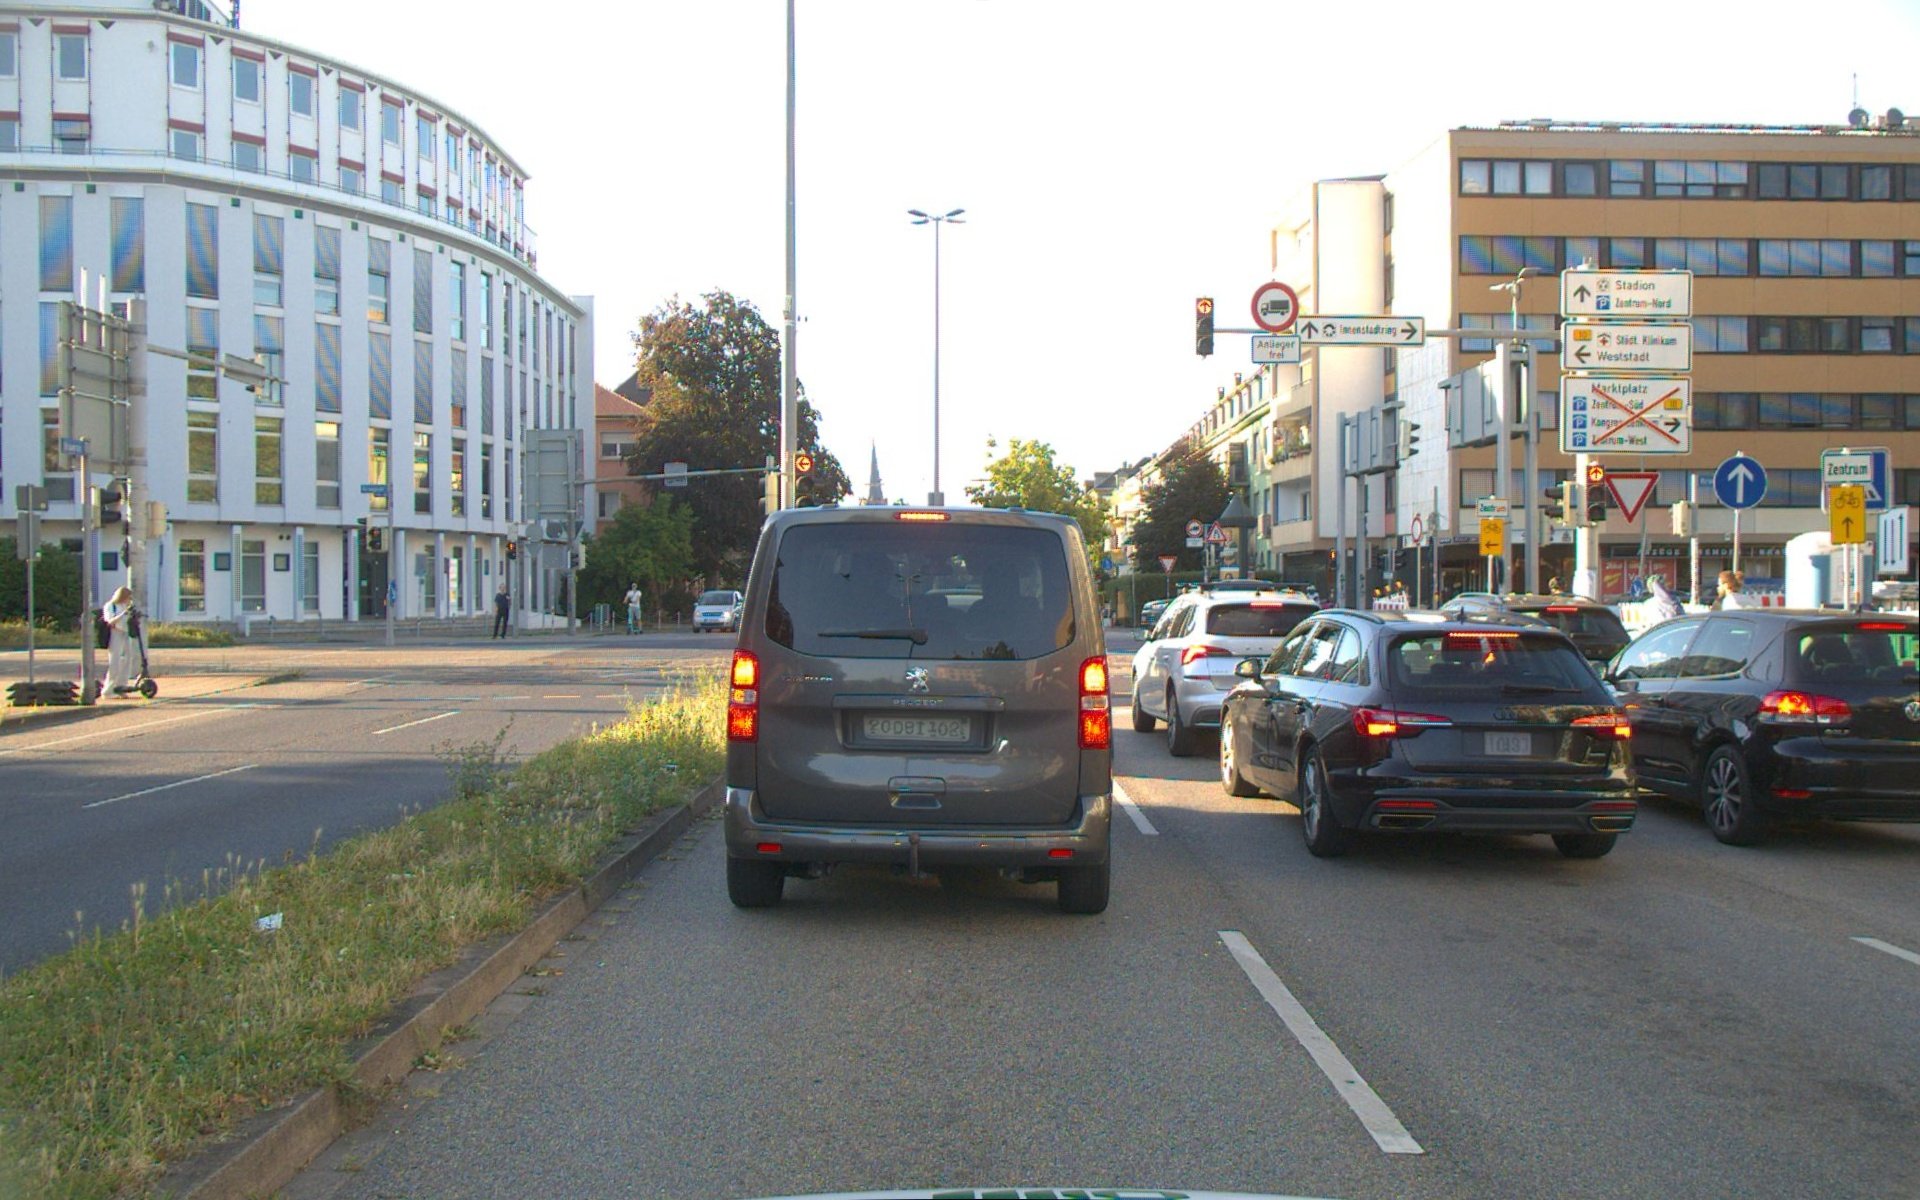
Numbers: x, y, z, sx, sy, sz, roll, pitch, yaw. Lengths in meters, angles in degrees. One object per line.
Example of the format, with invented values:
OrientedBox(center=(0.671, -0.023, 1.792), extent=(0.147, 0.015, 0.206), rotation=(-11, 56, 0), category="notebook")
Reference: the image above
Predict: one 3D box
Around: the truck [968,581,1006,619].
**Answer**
OrientedBox(center=(1.551, -0.013, 96.178), extent=(2.084, 2.123, 4.631), rotation=(-1, 0, 0), category="truck")

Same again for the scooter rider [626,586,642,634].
OrientedBox(center=(-11.825, 0.352, 59.983), extent=(0.471, 1.727, 0.636), rotation=(0, 0, -1), category="scooter rider")

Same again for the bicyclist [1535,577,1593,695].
OrientedBox(center=(8.076, 0.469, 22.123), extent=(0.503, 1.552, 0.725), rotation=(0, 0, -1), category="bicyclist")

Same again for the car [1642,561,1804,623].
OrientedBox(center=(23.689, -0.260, 51.447), extent=(4.134, 1.849, 1.998), rotation=(-1, 0, -6), category="car")

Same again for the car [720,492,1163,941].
OrientedBox(center=(-0.108, 0.489, 9.370), extent=(1.868, 1.896, 4.526), rotation=(1, 0, -1), category="car")

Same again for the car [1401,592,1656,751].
OrientedBox(center=(5.776, 0.664, 17.172), extent=(1.474, 1.474, 3.304), rotation=(0, 0, -1), category="car")

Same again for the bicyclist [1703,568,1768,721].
OrientedBox(center=(7.977, 0.447, 17.027), extent=(0.432, 1.552, 0.482), rotation=(0, 0, -1), category="bicyclist")

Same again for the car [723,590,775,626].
OrientedBox(center=(-8.886, 0.330, 69.900), extent=(1.818, 1.445, 3.998), rotation=(-1, 0, -2), category="car")

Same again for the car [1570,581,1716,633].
OrientedBox(center=(20.166, 0.198, 48.898), extent=(3.604, 1.412, 1.694), rotation=(-2, 0, -6), category="car")

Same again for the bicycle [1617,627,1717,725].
OrientedBox(center=(8.140, 0.851, 19.106), extent=(0.329, 1.025, 1.855), rotation=(0, 0, -1), category="bicycle")

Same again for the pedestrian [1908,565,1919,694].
OrientedBox(center=(14.162, 0.418, 23.975), extent=(0.562, 1.866, 0.484), rotation=(0, 0, -24), category="pedestrian")

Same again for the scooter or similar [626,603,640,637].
OrientedBox(center=(-11.827, 0.720, 59.842), extent=(0.279, 1.209, 1.169), rotation=(0, 0, -1), category="scooter or similar")

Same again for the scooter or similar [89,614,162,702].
OrientedBox(center=(-12.138, 0.832, 24.062), extent=(0.877, 1.255, 0.370), rotation=(0, 0, -12), category="scooter or similar")

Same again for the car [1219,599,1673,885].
OrientedBox(center=(2.885, 0.745, 10.789), extent=(1.647, 1.446, 4.213), rotation=(1, 0, -1), category="car")

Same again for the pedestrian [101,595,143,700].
OrientedBox(center=(-12.331, 0.691, 24.342), extent=(0.466, 1.532, 0.334), rotation=(0, 0, -13), category="pedestrian")

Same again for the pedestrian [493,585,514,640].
OrientedBox(center=(-14.540, 0.399, 52.727), extent=(0.615, 1.752, 0.669), rotation=(0, 0, -15), category="pedestrian")

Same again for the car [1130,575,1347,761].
OrientedBox(center=(2.693, 0.595, 16.725), extent=(1.497, 1.641, 3.744), rotation=(1, 0, -1), category="car")

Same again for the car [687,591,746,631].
OrientedBox(center=(-9.402, 0.402, 64.094), extent=(1.818, 1.445, 3.998), rotation=(-1, 0, -2), category="car")

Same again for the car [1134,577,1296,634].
OrientedBox(center=(7.246, 0.150, 47.166), extent=(4.254, 1.576, 1.786), rotation=(0, 0, -6), category="car")

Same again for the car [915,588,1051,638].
OrientedBox(center=(0.679, 0.386, 49.946), extent=(3.911, 1.445, 1.785), rotation=(0, 0, -8), category="car")

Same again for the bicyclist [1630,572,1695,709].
OrientedBox(center=(8.143, 0.459, 19.188), extent=(0.432, 1.552, 0.725), rotation=(0, 0, -1), category="bicyclist")

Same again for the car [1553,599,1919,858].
OrientedBox(center=(5.639, 0.757, 11.543), extent=(1.600, 1.474, 3.744), rotation=(1, 0, -1), category="car")

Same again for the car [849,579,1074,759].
OrientedBox(center=(-0.013, 0.589, 16.428), extent=(1.953, 1.557, 3.999), rotation=(0, 0, -1), category="car")
